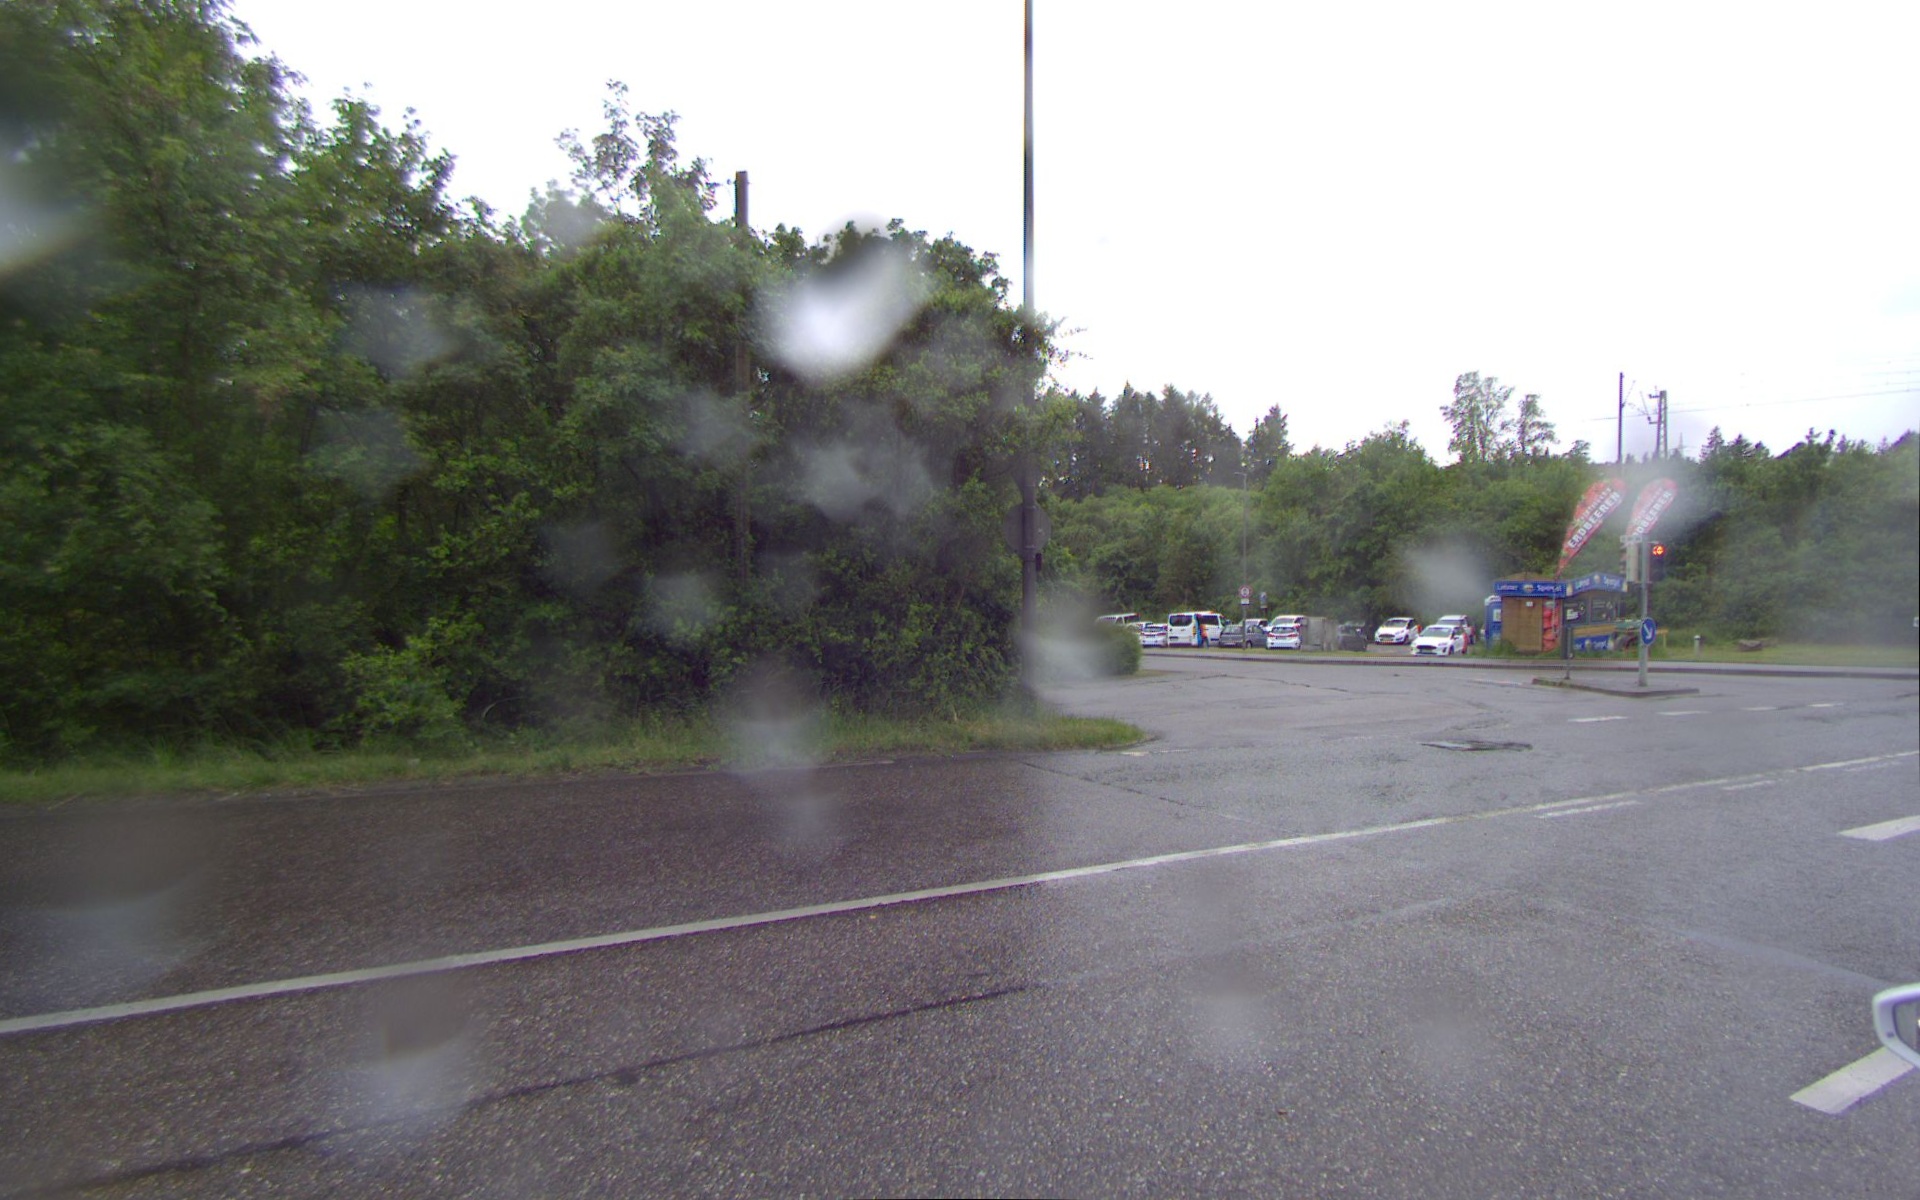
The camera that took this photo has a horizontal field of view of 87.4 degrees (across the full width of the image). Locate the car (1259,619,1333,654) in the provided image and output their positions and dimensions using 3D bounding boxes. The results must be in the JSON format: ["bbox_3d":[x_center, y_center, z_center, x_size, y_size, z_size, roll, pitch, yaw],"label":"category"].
[{"bbox_3d":[17.133,1.873,51.169,3.880,1.606,1.918,3,-1,-43],"label":"car"}]

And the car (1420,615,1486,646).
[{"bbox_3d":[27.071,1.659,55.098,3.972,1.606,1.975,2,-2,-43],"label":"car"}]

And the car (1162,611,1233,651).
[{"bbox_3d":[12.833,1.689,54.127,1.971,1.974,3.978,1,-1,42],"label":"car"}]

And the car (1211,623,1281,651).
[{"bbox_3d":[15.093,1.965,52.876,3.972,1.327,1.734,3,-1,-43],"label":"car"}]

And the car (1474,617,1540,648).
[{"bbox_3d":[29.364,1.726,53.913,3.972,1.606,1.975,2,-2,-43],"label":"car"}]

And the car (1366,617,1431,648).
[{"bbox_3d":[24.913,1.859,57.043,3.972,1.606,1.975,3,-1,-43],"label":"car"}]

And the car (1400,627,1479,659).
[{"bbox_3d":[22.282,1.988,46.543,4.869,1.358,1.636,3,-1,-43],"label":"car"}]

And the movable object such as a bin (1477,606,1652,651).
[{"bbox_3d":[25.308,1.177,42.303,5.663,1.649,2.753,2,-1,10],"label":"movable object such as a bin"}]

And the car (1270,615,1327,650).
[{"bbox_3d":[21.140,1.998,62.637,1.916,2.040,3.846,1,0,43],"label":"car"}]

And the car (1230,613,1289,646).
[{"bbox_3d":[19.271,1.871,64.519,3.973,2.040,1.974,2,-2,-44],"label":"car"}]

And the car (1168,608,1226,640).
[{"bbox_3d":[15.998,1.615,67.768,3.973,2.040,1.974,2,-1,-44],"label":"car"}]

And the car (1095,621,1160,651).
[{"bbox_3d":[9.696,2.112,57.962,1.813,1.606,3.978,1,-1,42],"label":"car"}]

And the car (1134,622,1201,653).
[{"bbox_3d":[11.610,2.132,56.064,1.834,1.606,3.978,1,-1,42],"label":"car"}]

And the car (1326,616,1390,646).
[{"bbox_3d":[23.417,1.839,59.090,3.972,1.606,1.975,3,-1,-43],"label":"car"}]
